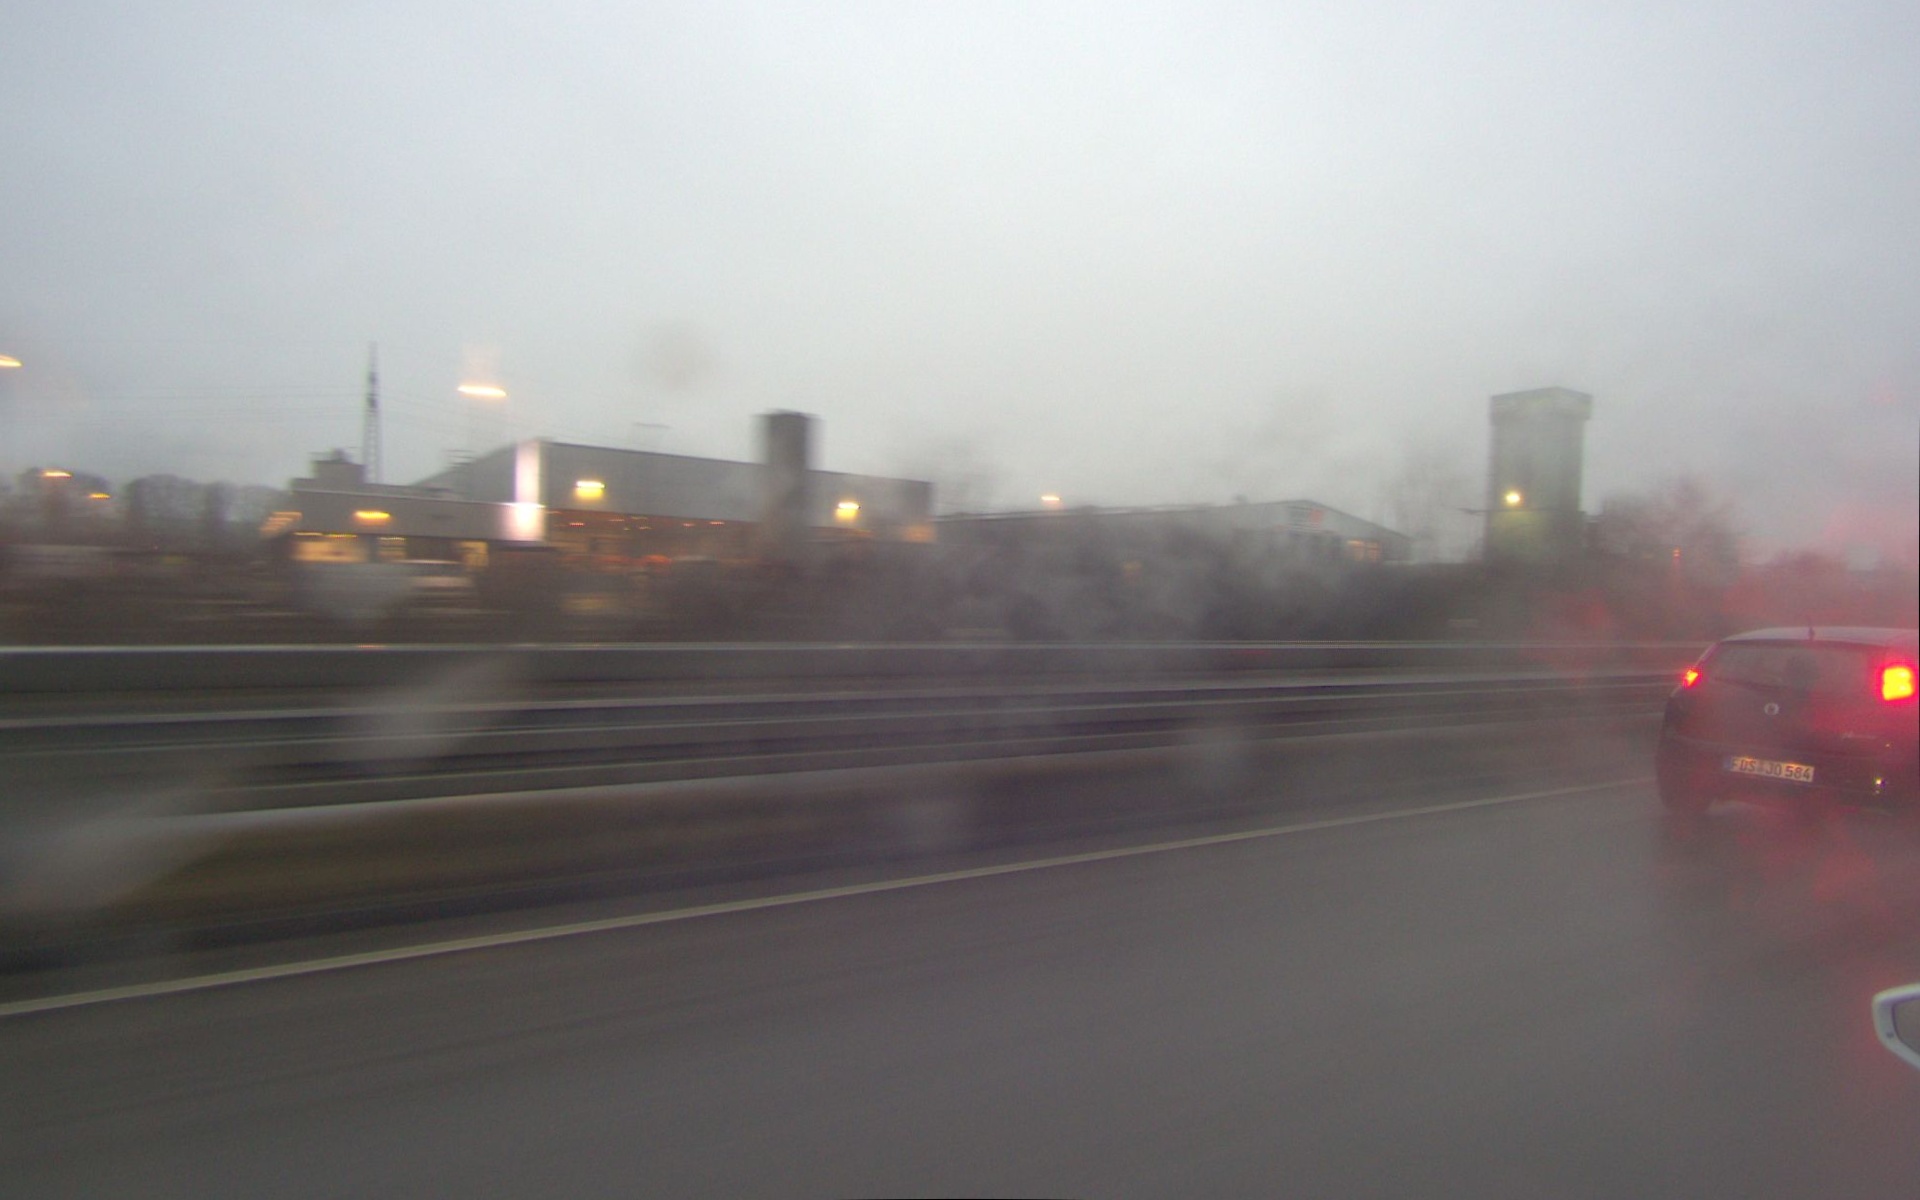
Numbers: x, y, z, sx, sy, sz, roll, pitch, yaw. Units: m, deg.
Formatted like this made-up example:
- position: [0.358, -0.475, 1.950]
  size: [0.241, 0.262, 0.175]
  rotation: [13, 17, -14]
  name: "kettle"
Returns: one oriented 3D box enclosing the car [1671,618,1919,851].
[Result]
- position: [7.478, 0.920, 7.891]
  size: [3.955, 1.410, 1.617]
  rotation: [2, 1, -31]
  name: "car"
